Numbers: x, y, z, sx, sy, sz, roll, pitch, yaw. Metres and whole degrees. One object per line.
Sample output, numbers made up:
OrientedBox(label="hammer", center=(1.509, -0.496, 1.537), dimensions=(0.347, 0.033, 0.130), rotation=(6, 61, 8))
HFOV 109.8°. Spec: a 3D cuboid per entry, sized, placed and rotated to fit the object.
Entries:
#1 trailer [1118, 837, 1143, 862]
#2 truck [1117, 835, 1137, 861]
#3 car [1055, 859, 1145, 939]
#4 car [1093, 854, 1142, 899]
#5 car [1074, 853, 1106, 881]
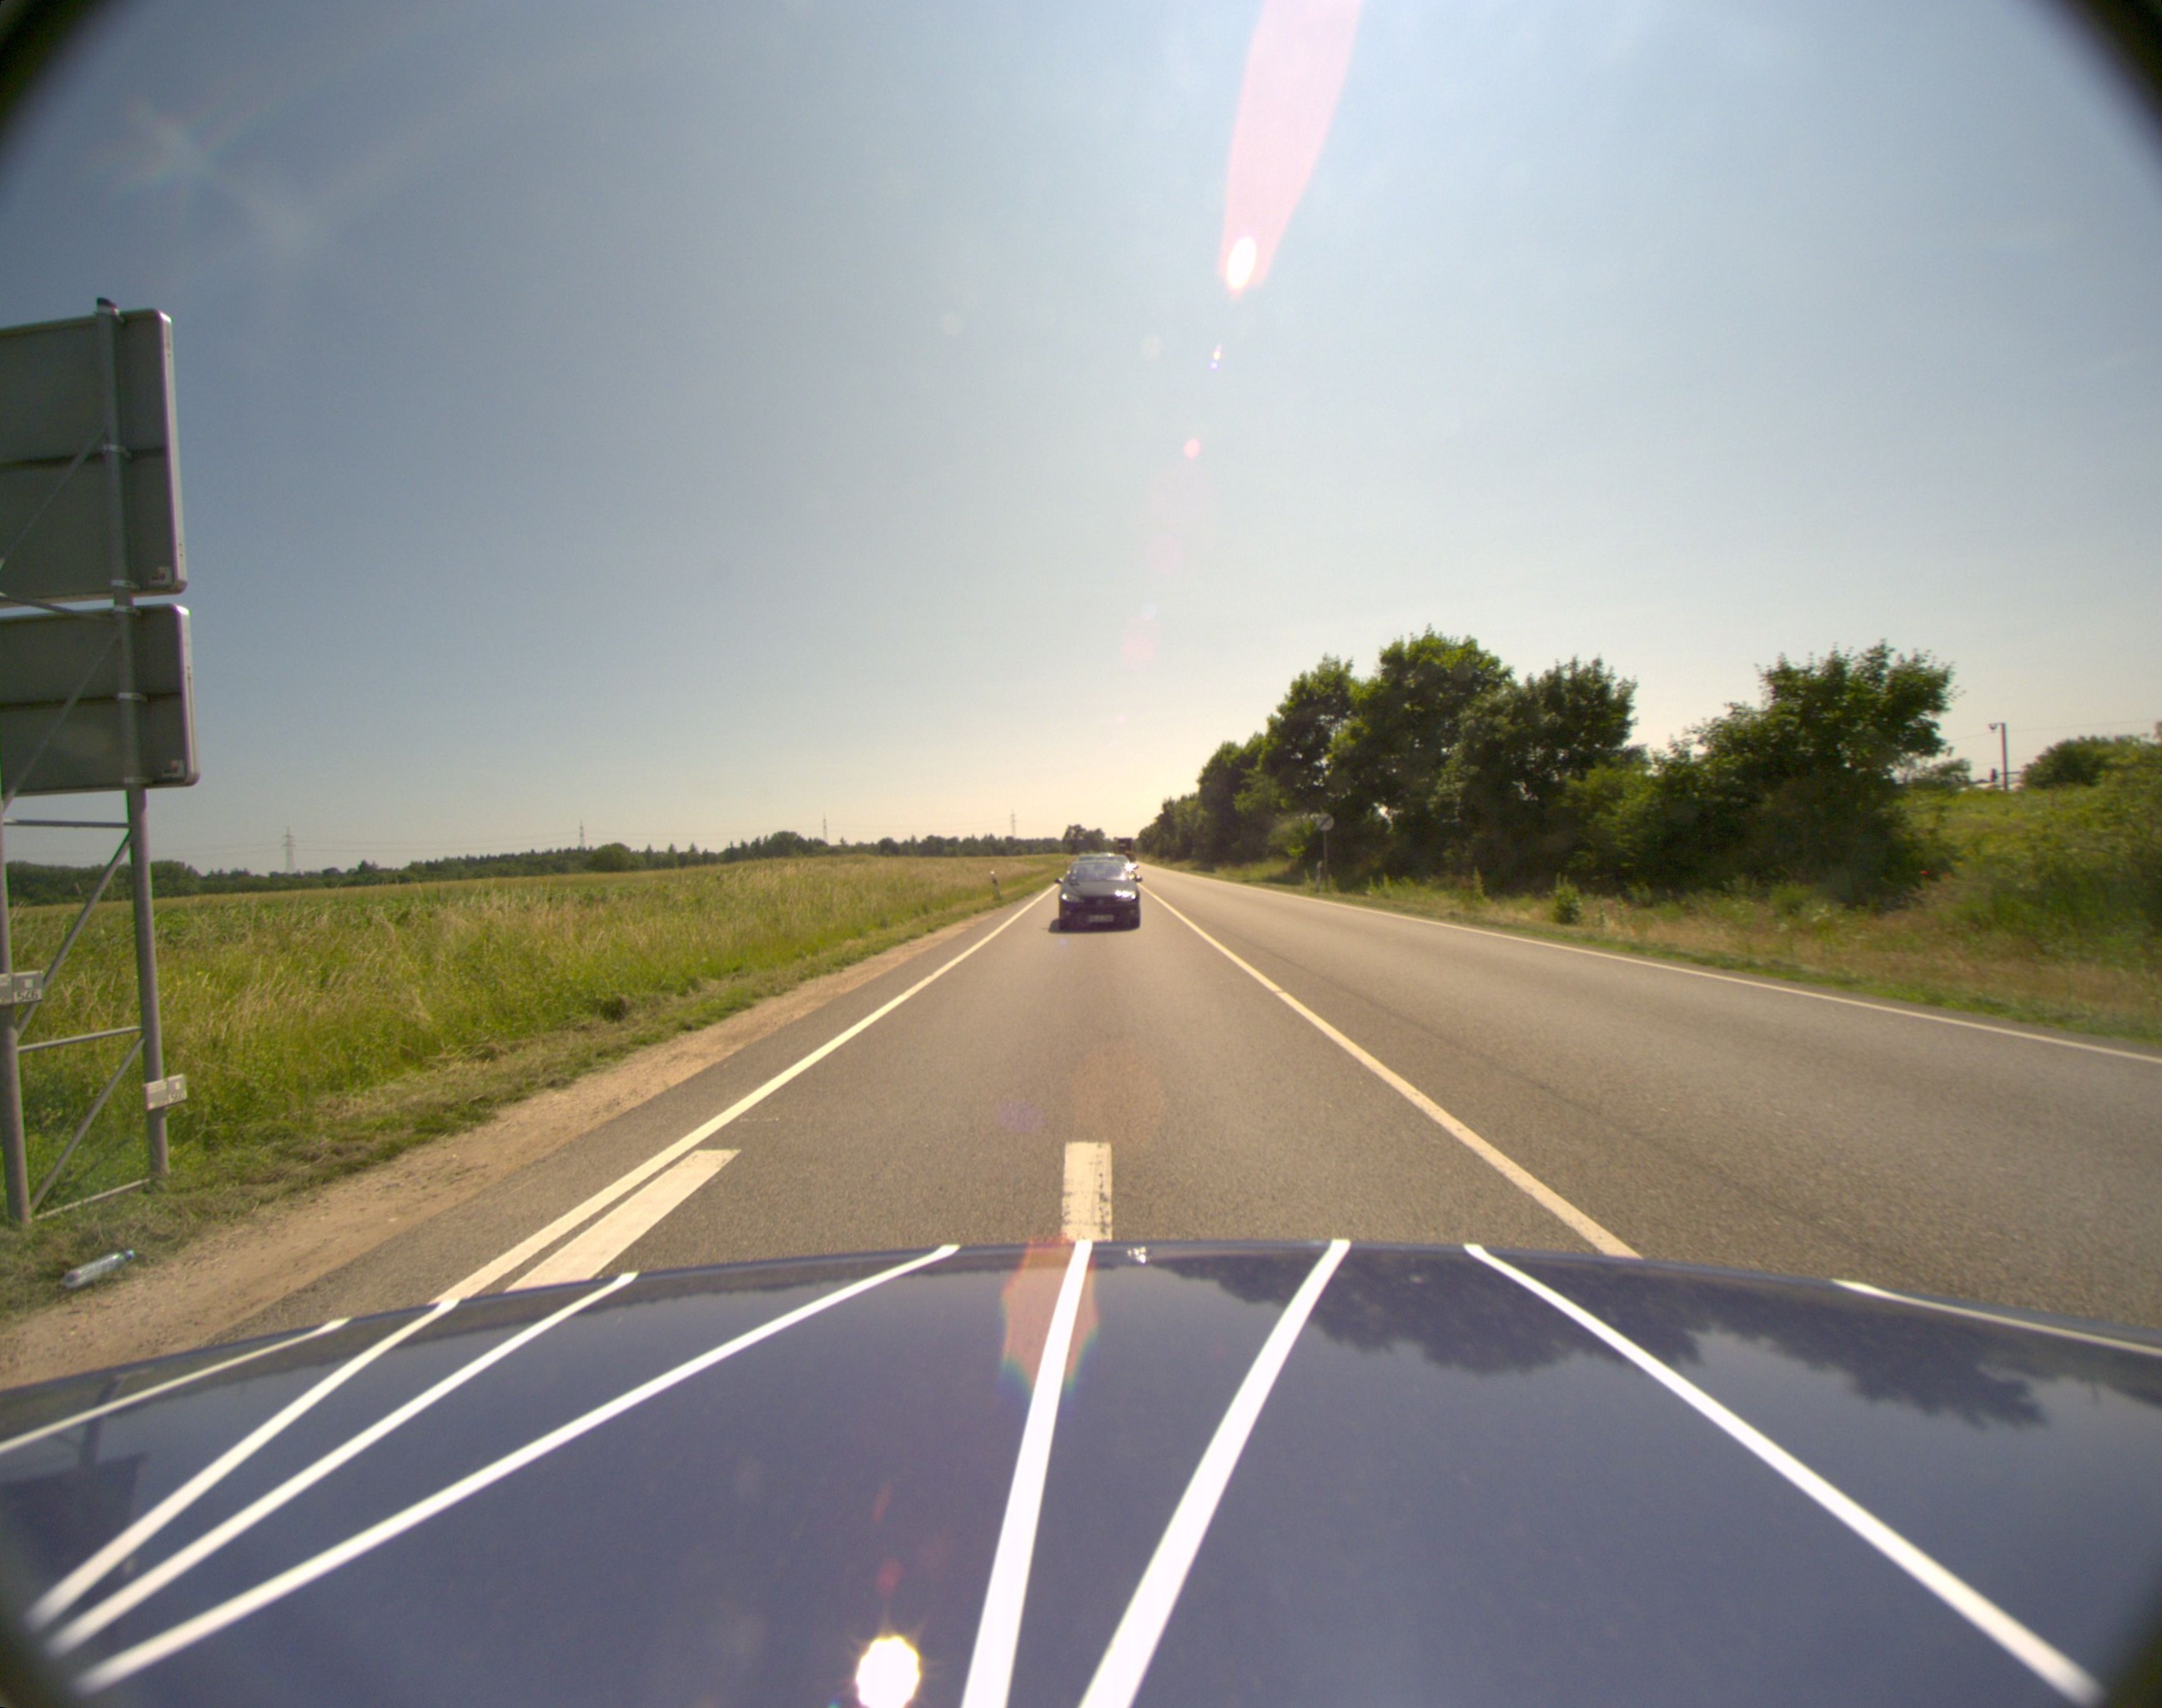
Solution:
OrientedBox(label="trailer", center=(7.287, -0.661, 113.936), dimensions=(2.669, 3.440, 14.948), rotation=(-1, 0, 0))
OrientedBox(label="truck", center=(7.284, -0.939, 121.366), dimensions=(2.709, 3.908, 5.952), rotation=(-1, 0, 0))
OrientedBox(label="car", center=(0.404, 0.874, 16.314), dimensions=(1.665, 1.389, 3.731), rotation=(-2, 1, 2))
OrientedBox(label="car", center=(1.300, 0.771, 28.322), dimensions=(1.665, 1.477, 3.731), rotation=(-2, 1, 1))
OrientedBox(label="car", center=(0.470, 0.693, 43.355), dimensions=(1.665, 1.449, 4.172), rotation=(-2, 1, 0))
